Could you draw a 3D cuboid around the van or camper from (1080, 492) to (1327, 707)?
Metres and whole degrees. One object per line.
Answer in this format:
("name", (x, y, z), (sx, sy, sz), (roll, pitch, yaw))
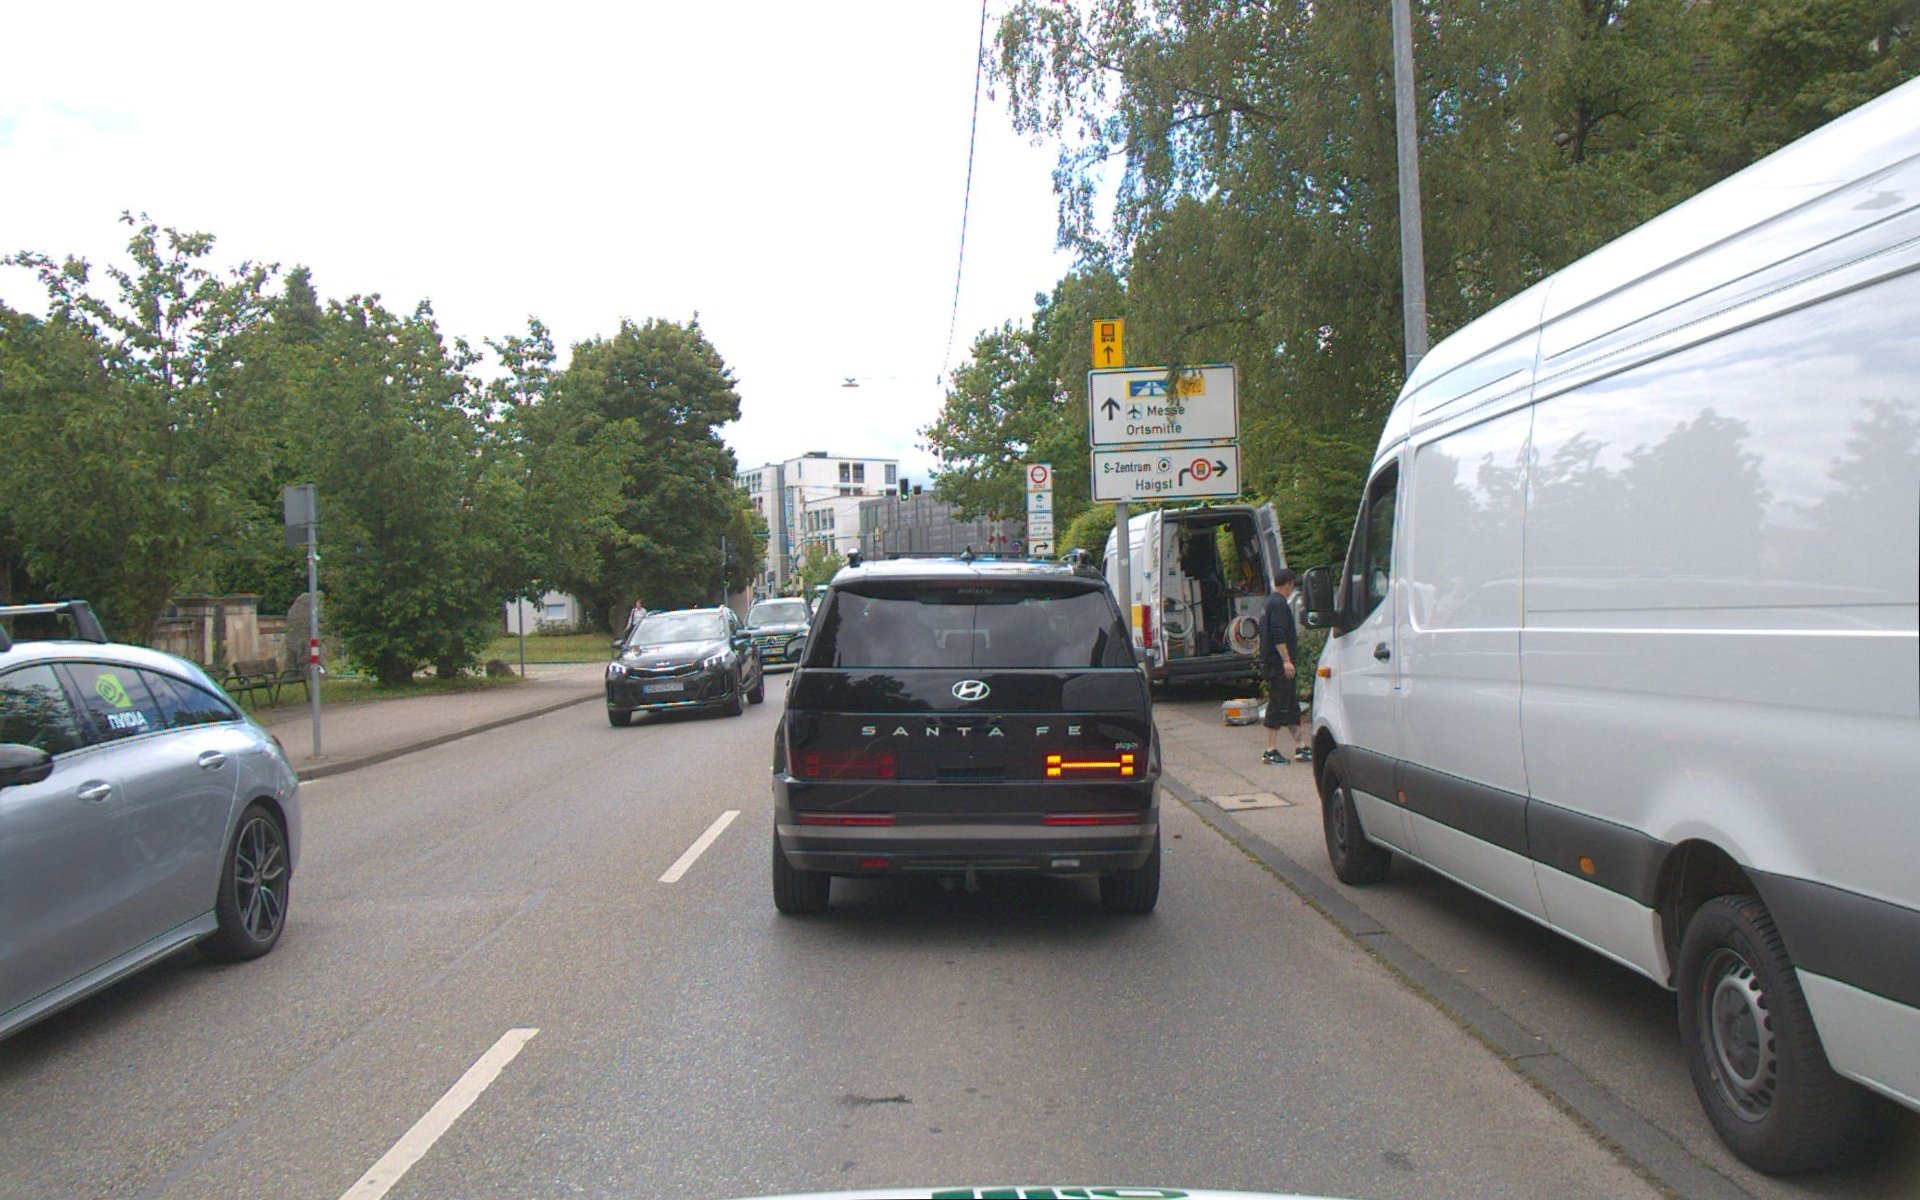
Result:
("van or camper", (3.327, 0.047, 24.253), (2.294, 2.537, 6.600), (-5, -1, -2))

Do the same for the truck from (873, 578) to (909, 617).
("truck", (-7.442, -0.234, 176.660), (3.048, 3.926, 9.607), (-2, 0, -7))

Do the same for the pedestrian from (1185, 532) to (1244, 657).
("pedestrian", (3.533, -0.074, 23.012), (0.721, 1.672, 0.802), (-3, -1, 8))

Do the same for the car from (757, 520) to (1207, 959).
("car", (0.069, 0.601, 8.953), (1.858, 1.807, 3.993), (1, 0, -1))

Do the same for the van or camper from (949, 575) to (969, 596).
("van or camper", (-0.074, -1.499, 171.444), (1.760, 2.033, 3.820), (1, 0, -4))

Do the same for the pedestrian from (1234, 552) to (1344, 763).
("pedestrian", (2.873, 0.487, 14.390), (0.772, 1.750, 0.753), (-4, 0, 16))

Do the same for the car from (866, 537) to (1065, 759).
("car", (0.026, 0.470, 17.764), (1.858, 2.077, 3.993), (1, 0, -1))

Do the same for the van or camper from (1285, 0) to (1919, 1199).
("van or camper", (2.925, 0.085, 5.938), (1.951, 2.670, 6.543), (-4, 0, -1))

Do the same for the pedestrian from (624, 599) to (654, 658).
("pedestrian", (-9.766, 0.855, 50.346), (0.751, 1.779, 0.904), (0, -1, -1))

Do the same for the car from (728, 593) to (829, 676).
("car", (-4.099, 0.753, 38.012), (1.842, 1.673, 4.126), (-4, 0, -1))

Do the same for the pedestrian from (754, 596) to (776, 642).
("pedestrian", (-8.903, 0.870, 75.619), (0.812, 2.049, 1.047), (1, -1, 1))

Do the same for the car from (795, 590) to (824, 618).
("car", (-13.023, 0.349, 142.786), (2.288, 2.356, 4.950), (-2, 0, -7))

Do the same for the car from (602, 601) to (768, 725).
("car", (-3.796, 0.831, 23.478), (1.666, 1.509, 3.999), (-4, 0, -1))

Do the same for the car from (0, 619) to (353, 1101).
("car", (-3.781, 0.850, 5.706), (1.721, 1.427, 4.413), (-4, 0, -1))

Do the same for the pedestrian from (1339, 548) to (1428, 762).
("pedestrian", (3.638, 0.469, 14.196), (0.634, 1.782, 0.655), (-2, -1, 19))

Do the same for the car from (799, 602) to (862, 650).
("car", (-4.410, 0.866, 57.088), (1.778, 1.443, 4.827), (-5, 0, -1))

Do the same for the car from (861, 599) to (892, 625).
("car", (-5.385, 0.756, 107.048), (1.800, 1.565, 4.267), (-2, 0, 0))
